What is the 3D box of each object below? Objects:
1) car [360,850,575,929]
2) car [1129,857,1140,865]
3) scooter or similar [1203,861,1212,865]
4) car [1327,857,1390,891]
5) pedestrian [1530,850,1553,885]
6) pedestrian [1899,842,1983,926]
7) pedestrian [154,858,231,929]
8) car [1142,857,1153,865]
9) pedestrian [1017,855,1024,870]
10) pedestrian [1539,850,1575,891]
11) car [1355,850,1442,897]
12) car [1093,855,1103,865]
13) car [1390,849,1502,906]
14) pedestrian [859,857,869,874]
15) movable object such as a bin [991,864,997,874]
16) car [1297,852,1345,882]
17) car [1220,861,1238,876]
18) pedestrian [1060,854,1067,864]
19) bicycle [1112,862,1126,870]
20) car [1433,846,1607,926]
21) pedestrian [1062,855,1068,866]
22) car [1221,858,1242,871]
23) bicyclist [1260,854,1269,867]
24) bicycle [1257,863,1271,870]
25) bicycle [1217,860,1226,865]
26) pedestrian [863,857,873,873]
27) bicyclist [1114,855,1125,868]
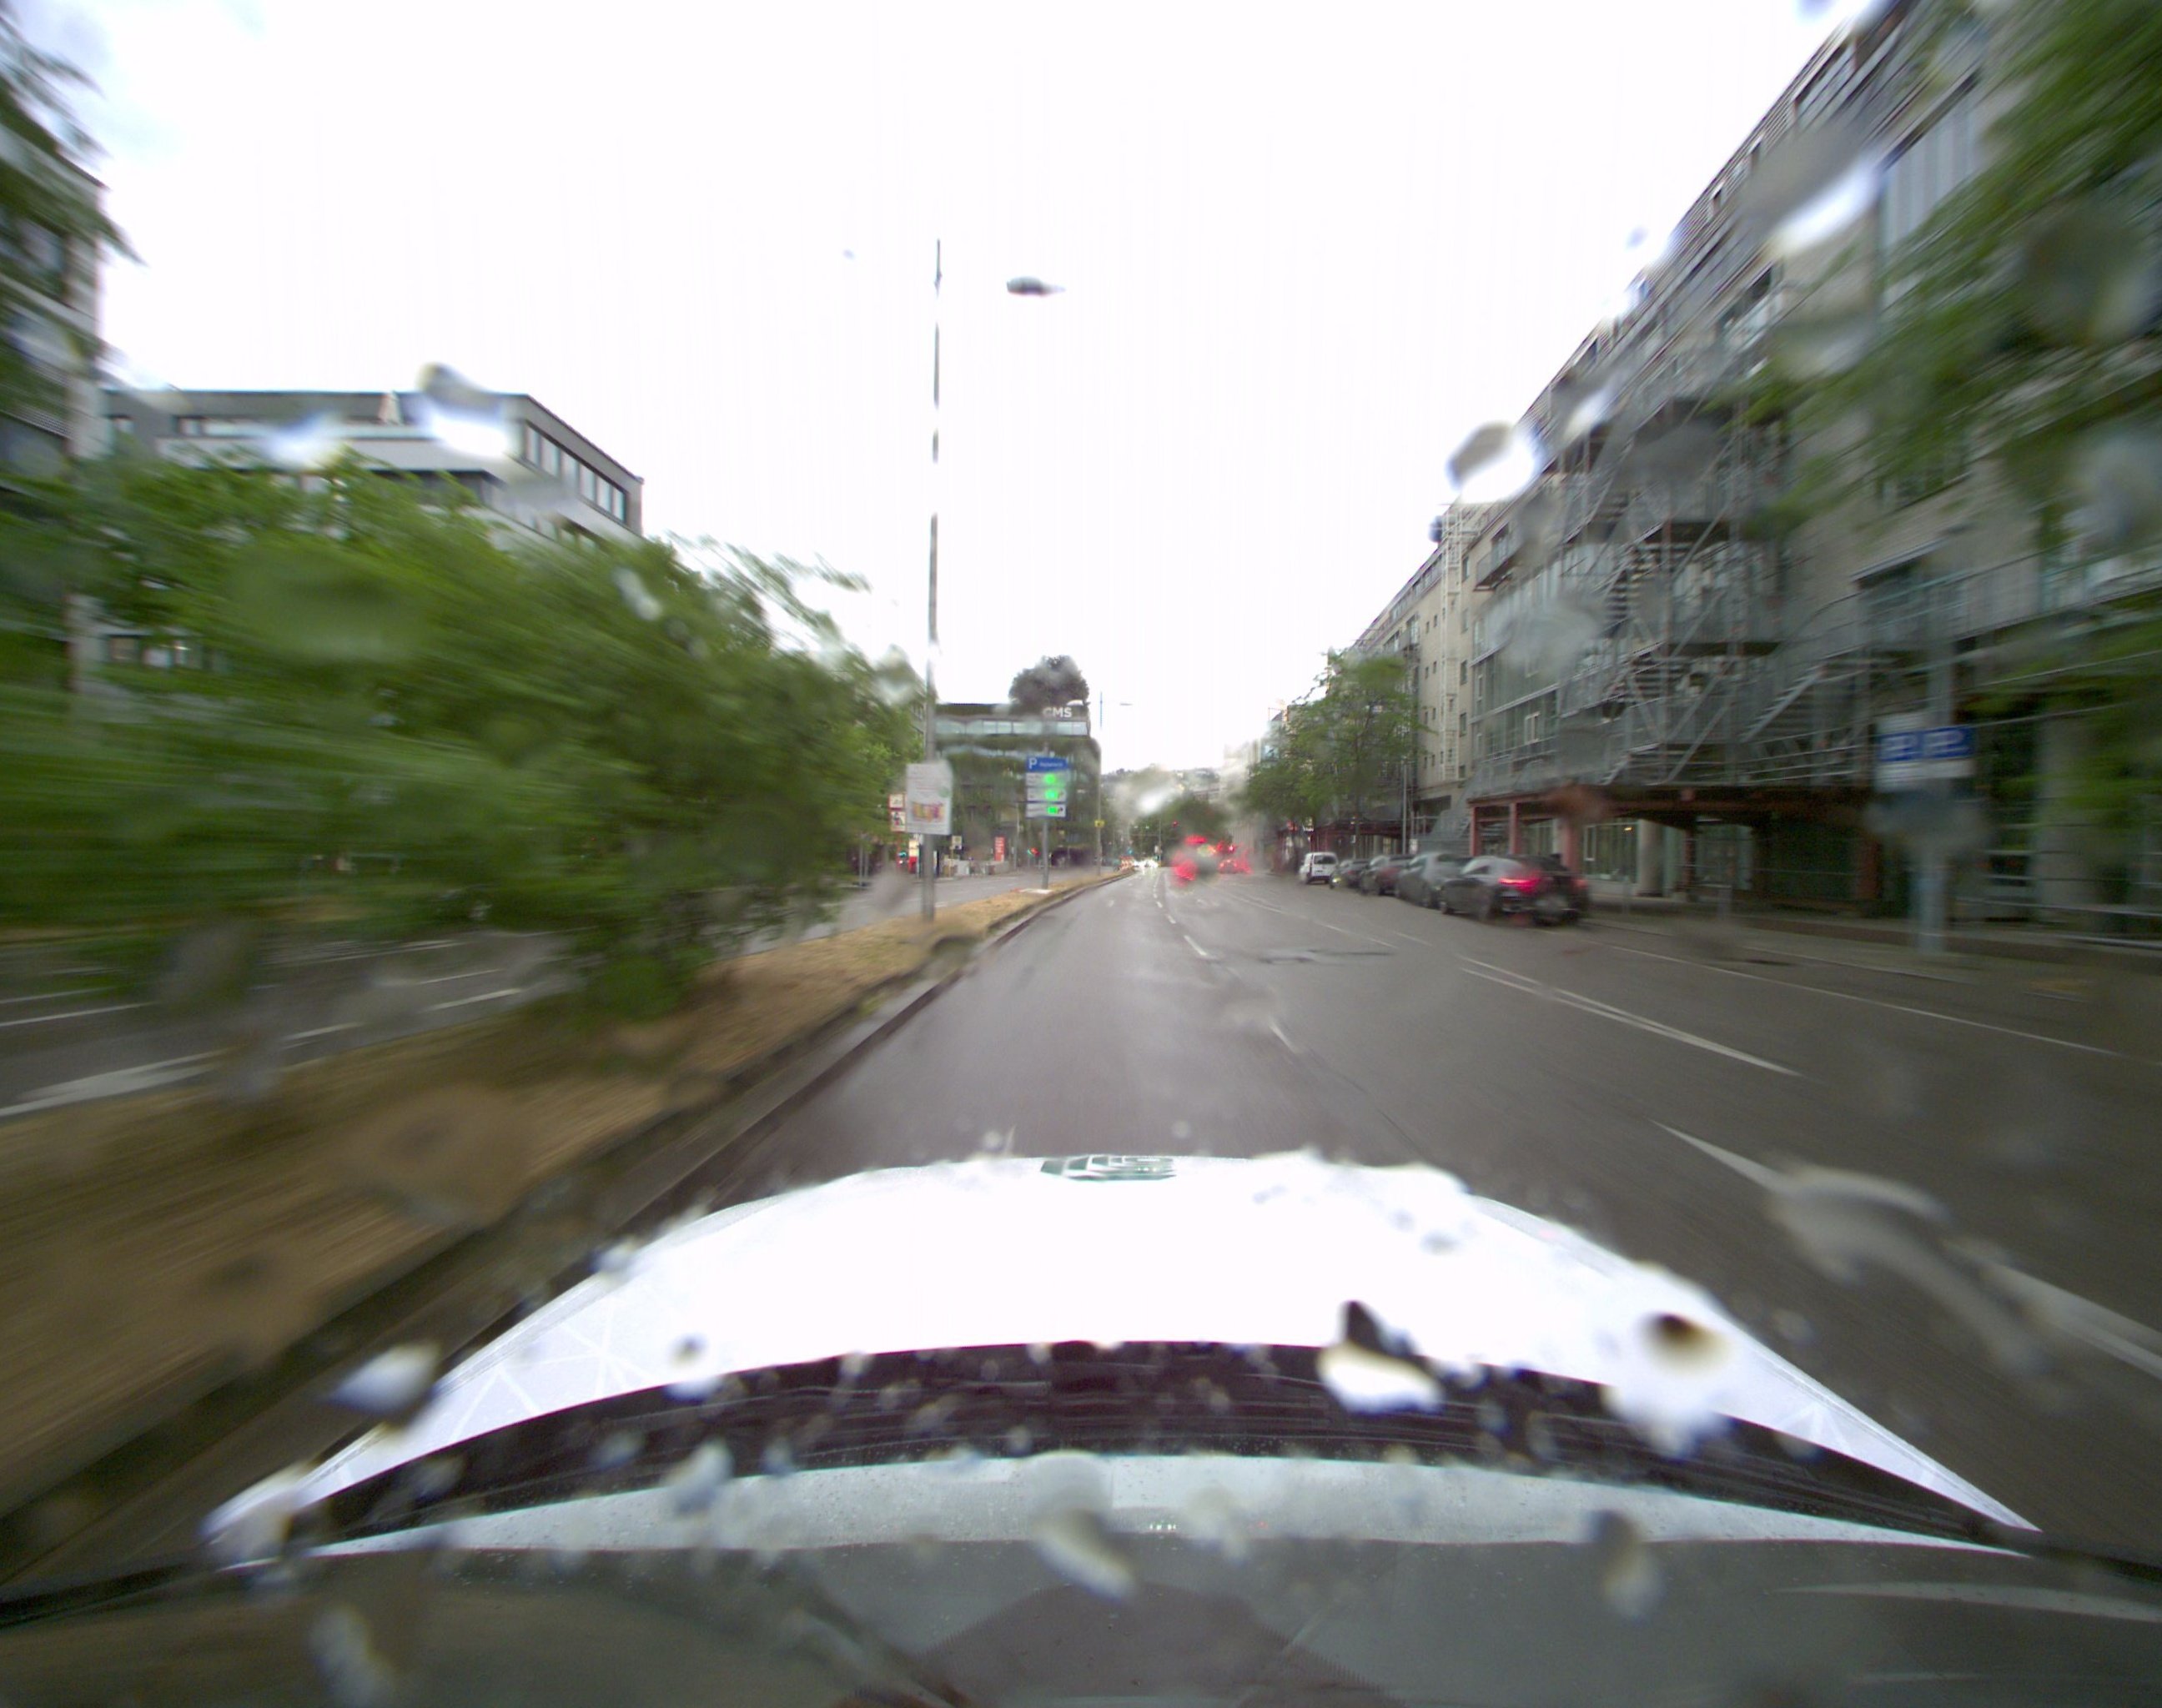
[{"bbox_3d":[-13.972,0.746,18.895,1.771,1.636,4.027,0,0,3],"label":"car"},{"bbox_3d":[10.474,1.423,159.148,1.850,1.448,4.620,0,0,0],"label":"car"},{"bbox_3d":[26.890,1.978,173.323,1.748,0.878,0.487,0,-1,-14],"label":"scooter or similar"},{"bbox_3d":[12.657,0.873,37.485,1.858,1.437,4.932,0,0,8],"label":"car"},{"bbox_3d":[20.318,0.583,35.947,0.676,1.519,0.769,0,-1,8],"label":"pedestrian"},{"bbox_3d":[16.844,0.567,15.972,0.700,1.596,0.924,0,-1,4],"label":"pedestrian"},{"bbox_3d":[-21.735,0.950,19.949,0.865,1.688,0.896,0,-1,1],"label":"pedestrian"},{"bbox_3d":[12.546,1.282,152.965,1.984,1.550,4.562,0,0,5],"label":"car"},{"bbox_3d":[-7.811,1.155,105.154,0.803,1.885,0.866,-4,-1,-1],"label":"pedestrian"},{"bbox_3d":[18.876,0.647,32.303,0.815,1.596,1.114,0,0,1],"label":"pedestrian"},{"bbox_3d":[11.843,0.686,30.726,1.982,1.646,4.873,0,0,8],"label":"car"},{"bbox_3d":[3.488,1.210,163.809,1.986,1.895,4.467,0,0,2],"label":"car"},{"bbox_3d":[11.209,0.677,25.377,1.852,1.601,4.600,0,0,6],"label":"car"},{"bbox_3d":[-18.847,1.013,70.835,0.686,1.450,0.584,0,-1,3],"label":"pedestrian"},{"bbox_3d":[-8.078,1.417,75.494,0.530,0.898,0.681,-2,0,-4],"label":"movable object such as a bin"},{"bbox_3d":[14.390,0.763,49.146,1.983,1.750,4.534,0,0,6],"label":"car"},{"bbox_3d":[16.437,1.611,90.659,1.768,1.540,4.156,0,0,8],"label":"car"},{"bbox_3d":[-3.066,0.889,139.215,0.937,1.758,1.165,0,-1,-18],"label":"pedestrian"},{"bbox_3d":[4.878,1.531,104.024,0.837,1.103,2.166,0,-1,34],"label":"bicycle"},{"bbox_3d":[10.020,0.651,19.146,1.982,1.601,5.302,0,0,9],"label":"car"},{"bbox_3d":[-2.768,1.123,139.415,0.743,1.758,0.970,0,-1,-18],"label":"pedestrian"},{"bbox_3d":[18.146,1.266,97.856,1.689,1.529,4.449,0,0,21],"label":"car"},{"bbox_3d":[29.353,1.024,130.133,0.797,1.975,1.102,1,-1,-34],"label":"bicyclist"},{"bbox_3d":[29.225,2.041,130.313,0.797,1.117,2.231,1,-1,-35],"label":"bicycle"},{"bbox_3d":[28.201,1.775,163.985,1.784,0.934,0.476,0,-1,8],"label":"bicycle"},{"bbox_3d":[-18.825,0.979,71.885,0.724,1.450,0.691,0,-1,-1],"label":"pedestrian"},{"bbox_3d":[4.880,0.951,103.997,0.837,1.704,1.307,-1,-1,35],"label":"bicyclist"}]
